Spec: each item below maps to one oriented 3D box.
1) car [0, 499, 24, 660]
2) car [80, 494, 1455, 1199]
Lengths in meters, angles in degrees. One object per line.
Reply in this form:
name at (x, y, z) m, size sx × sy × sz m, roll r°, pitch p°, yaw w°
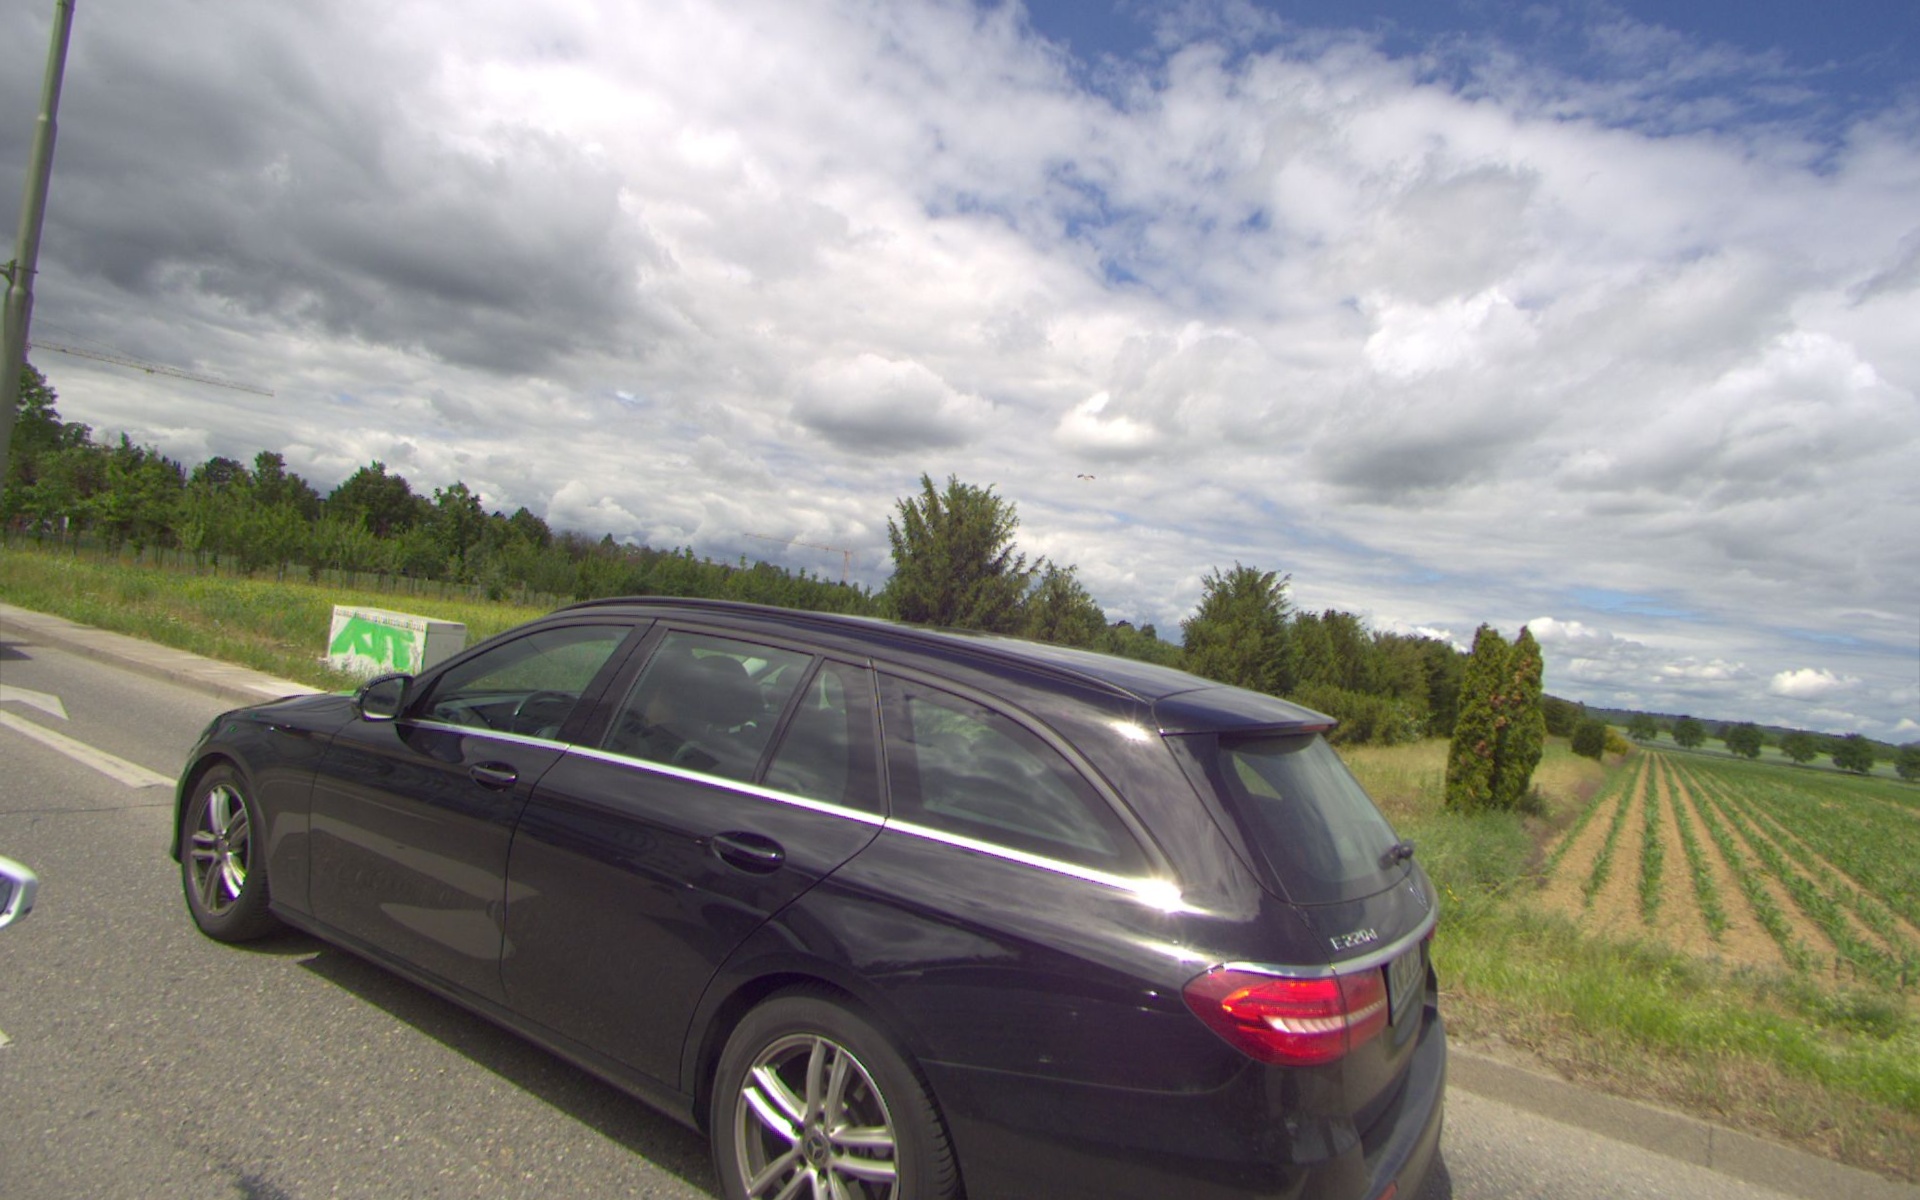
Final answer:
car at (-11.465, -0.423, 10.047) m, size 4.268 × 1.544 × 1.960 m, roll 5°, pitch 0°, yaw 32°
car at (-1.012, 0.716, 3.622) m, size 4.725 × 1.556 × 1.841 m, roll 8°, pitch 0°, yaw 32°
